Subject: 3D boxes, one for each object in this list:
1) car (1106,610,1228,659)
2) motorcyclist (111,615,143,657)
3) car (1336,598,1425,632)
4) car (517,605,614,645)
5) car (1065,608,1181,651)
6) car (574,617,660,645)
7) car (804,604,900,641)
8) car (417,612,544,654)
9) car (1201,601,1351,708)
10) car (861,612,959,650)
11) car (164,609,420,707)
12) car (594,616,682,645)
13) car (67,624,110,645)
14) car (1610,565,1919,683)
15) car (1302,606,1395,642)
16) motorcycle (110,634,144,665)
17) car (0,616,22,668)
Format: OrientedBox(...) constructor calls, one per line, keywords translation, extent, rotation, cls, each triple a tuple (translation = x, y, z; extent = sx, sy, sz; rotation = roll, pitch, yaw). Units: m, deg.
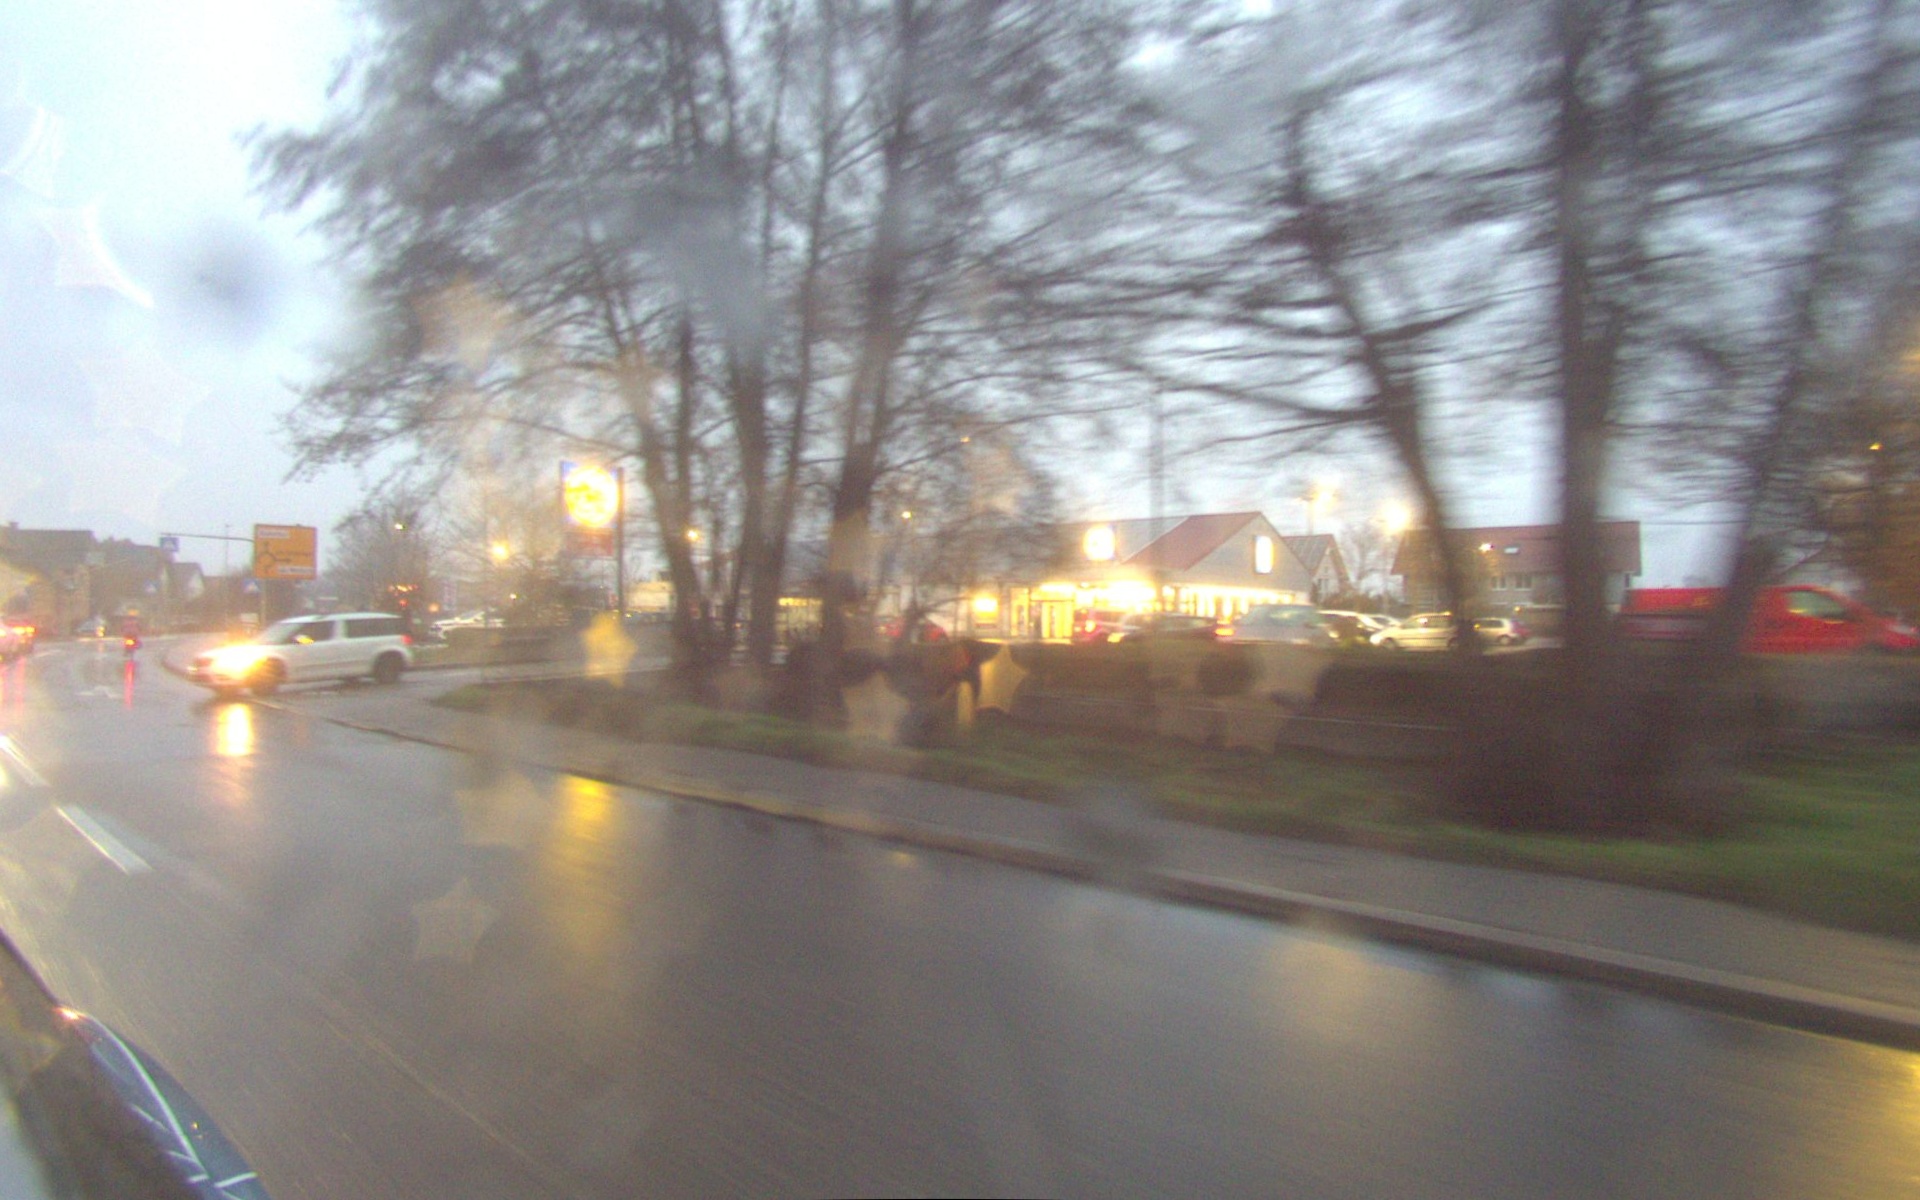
OrientedBox(translation=(7.703, 1.302, 37.725), extent=(3.988, 1.629, 1.897), rotation=(-3, -1, 33), cls="car")
OrientedBox(translation=(-30.349, 1.296, 36.868), extent=(0.855, 1.496, 0.910), rotation=(0, 0, -42), cls="motorcyclist")
OrientedBox(translation=(22.111, 0.797, 53.254), extent=(3.988, 1.629, 1.897), rotation=(-3, -1, 33), cls="car")
OrientedBox(translation=(-23.840, 1.564, 61.358), extent=(2.214, 2.300, 5.139), rotation=(-2, -3, 35), cls="car")
OrientedBox(translation=(6.834, 1.243, 42.624), extent=(4.348, 1.684, 1.973), rotation=(-1, -2, -12), cls="car")
OrientedBox(translation=(-19.882, 1.818, 58.809), extent=(2.051, 1.575, 4.391), rotation=(-2, -3, 35), cls="car")
OrientedBox(translation=(-4.925, 1.066, 46.623), extent=(2.051, 1.575, 4.391), rotation=(-2, -3, 35), cls="car")
OrientedBox(translation=(-21.174, 1.429, 44.868), extent=(2.028, 1.725, 4.729), rotation=(-1, -1, 35), cls="car")
OrientedBox(translation=(7.100, 1.112, 22.382), extent=(2.120, 1.992, 4.613), rotation=(-3, 0, 30), cls="car")
OrientedBox(translation=(-2.125, 1.383, 44.224), extent=(2.051, 1.575, 4.391), rotation=(-2, -3, 35), cls="car")
OrientedBox(translation=(-14.353, 1.154, 21.989), extent=(1.893, 1.712, 4.195), rotation=(-1, 2, 32), cls="car")
OrientedBox(translation=(-18.116, 1.742, 57.139), extent=(2.051, 1.575, 4.391), rotation=(-2, -3, 35), cls="car")
OrientedBox(translation=(-65.399, 2.584, 75.981), extent=(1.747, 1.441, 3.808), rotation=(-1, -1, -30), cls="car")
OrientedBox(translation=(17.445, 0.539, 22.084), extent=(5.261, 2.296, 2.259), rotation=(-3, 0, 38), cls="car")
OrientedBox(translation=(19.463, 1.209, 50.732), extent=(3.988, 1.629, 1.897), rotation=(-3, -1, 33), cls="car")
OrientedBox(translation=(-30.304, 1.770, 36.812), extent=(0.855, 1.031, 2.112), rotation=(-1, 0, -42), cls="motorcycle")
OrientedBox(translation=(-34.046, 1.438, 35.134), extent=(1.748, 1.736, 4.430), rotation=(0, -1, -38), cls="car")
